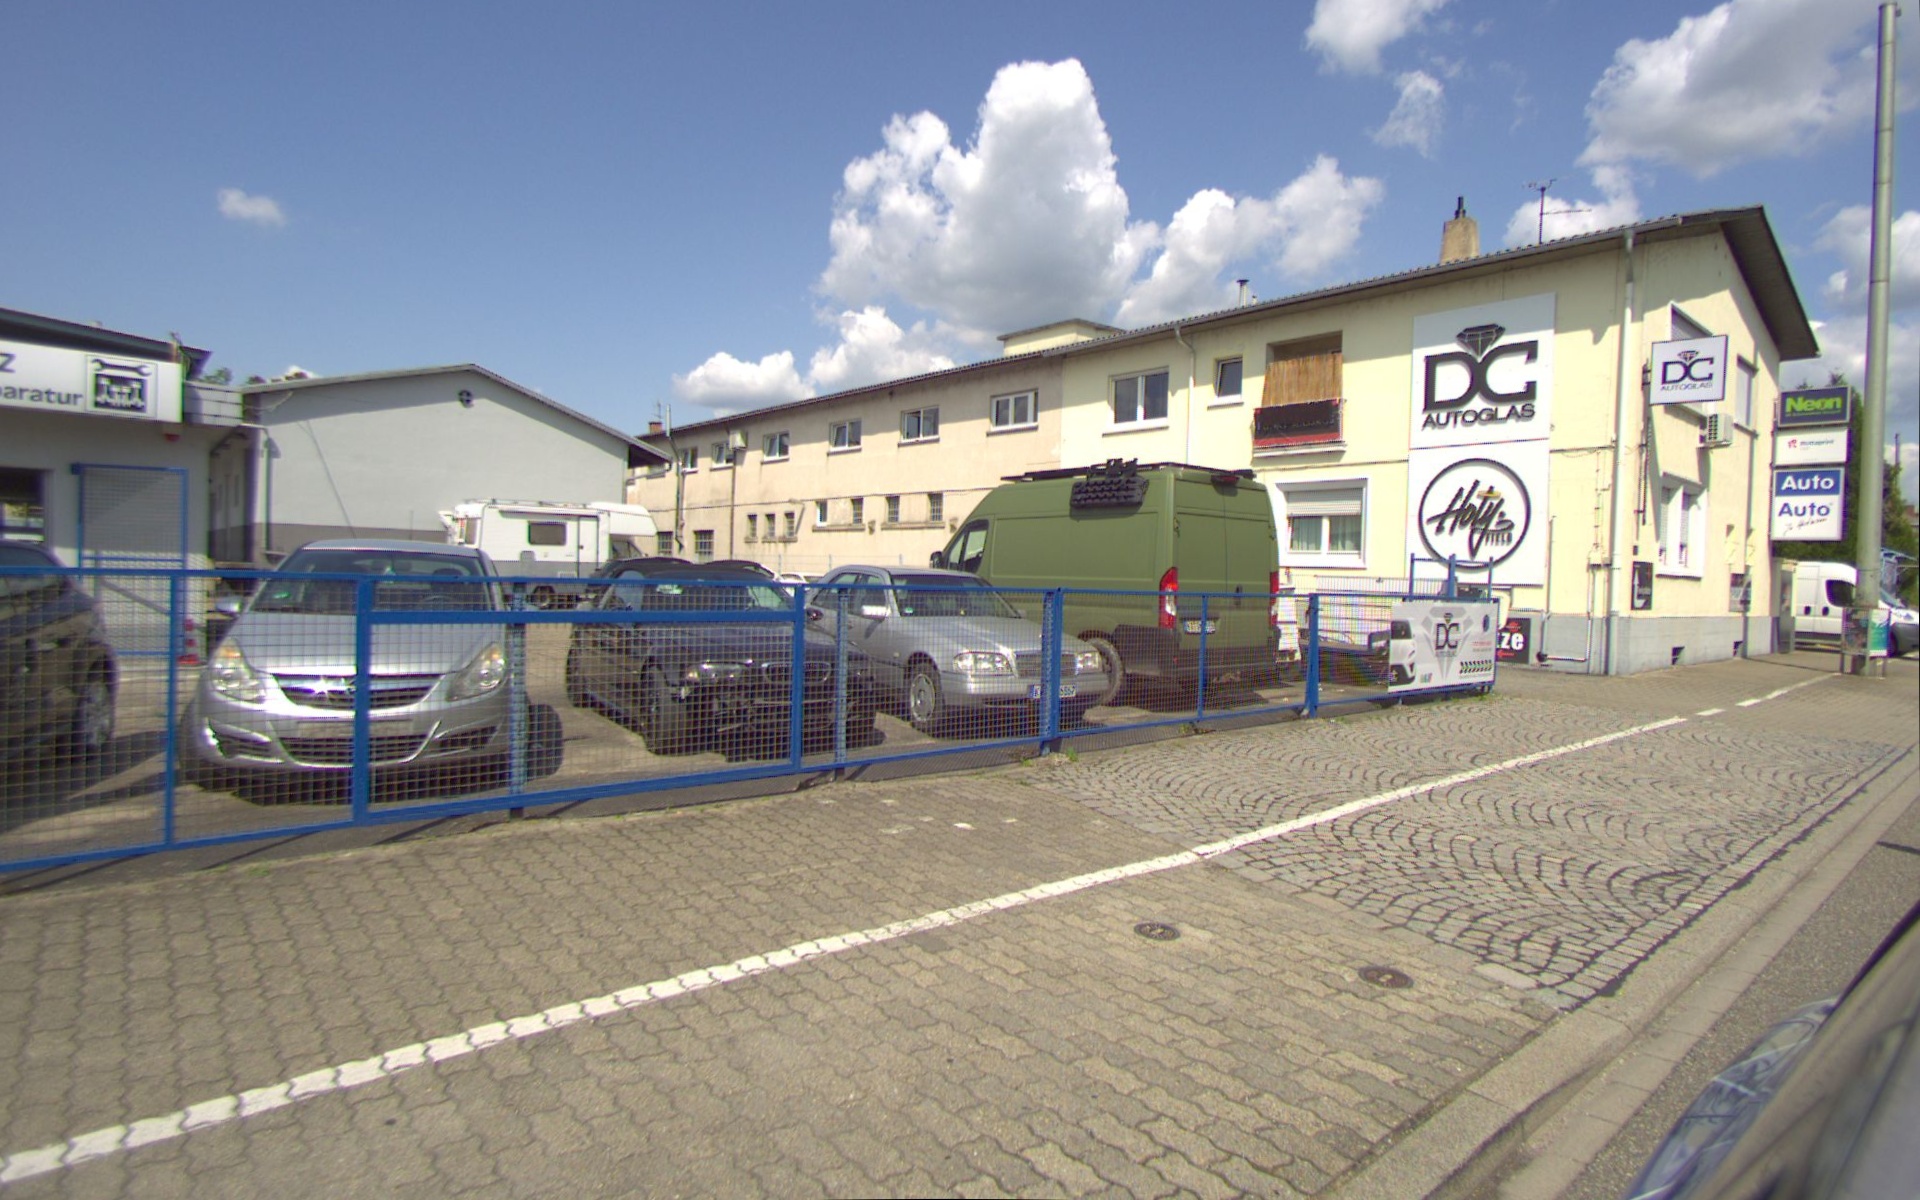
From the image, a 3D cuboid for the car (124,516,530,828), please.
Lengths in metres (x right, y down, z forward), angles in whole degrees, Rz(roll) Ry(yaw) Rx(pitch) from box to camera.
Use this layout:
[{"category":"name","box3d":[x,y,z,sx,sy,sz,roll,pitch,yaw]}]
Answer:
[{"category":"car","box3d":[-3.897,0.281,6.836,1.736,1.470,3.778,1,2,-24]}]

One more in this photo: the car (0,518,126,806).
[{"category":"car","box3d":[-5.631,0.305,4.867,1.606,1.470,3.700,1,2,-25]}]

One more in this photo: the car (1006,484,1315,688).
[{"category":"car","box3d":[2.644,-0.246,14.238,1.557,2.436,4.208,1,2,-39]}]

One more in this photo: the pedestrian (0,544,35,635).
[{"category":"pedestrian","box3d":[-13.159,-0.156,13.878,0.652,1.224,0.566,1,1,-39]}]

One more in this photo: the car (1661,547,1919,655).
[{"category":"car","box3d":[22.800,-0.073,27.418,2.055,2.493,5.838,0,4,-39]}]

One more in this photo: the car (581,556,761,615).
[{"category":"car","box3d":[-7.304,-0.358,25.807,4.112,1.378,1.645,0,2,-41]}]

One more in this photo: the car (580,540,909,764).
[{"category":"car","box3d":[-2.126,0.274,8.893,1.737,1.470,4.128,1,2,-28]}]

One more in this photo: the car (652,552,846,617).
[{"category":"car","box3d":[-4.841,-0.348,23.543,4.112,1.378,1.645,0,2,-41]}]

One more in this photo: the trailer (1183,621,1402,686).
[{"category":"trailer","box3d":[4.752,0.725,14.646,1.307,0.674,2.730,0,2,-42]}]

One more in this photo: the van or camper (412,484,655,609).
[{"category":"van or camper","box3d":[-11.301,-1.323,27.107,5.556,3.002,2.272,0,2,-42]}]

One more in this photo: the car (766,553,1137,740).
[{"category":"car","box3d":[-0.336,0.287,10.198,1.679,1.470,4.292,1,2,-33]}]

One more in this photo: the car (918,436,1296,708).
[{"category":"car","box3d":[1.590,-0.349,12.251,2.075,2.675,4.208,1,2,-39]}]
